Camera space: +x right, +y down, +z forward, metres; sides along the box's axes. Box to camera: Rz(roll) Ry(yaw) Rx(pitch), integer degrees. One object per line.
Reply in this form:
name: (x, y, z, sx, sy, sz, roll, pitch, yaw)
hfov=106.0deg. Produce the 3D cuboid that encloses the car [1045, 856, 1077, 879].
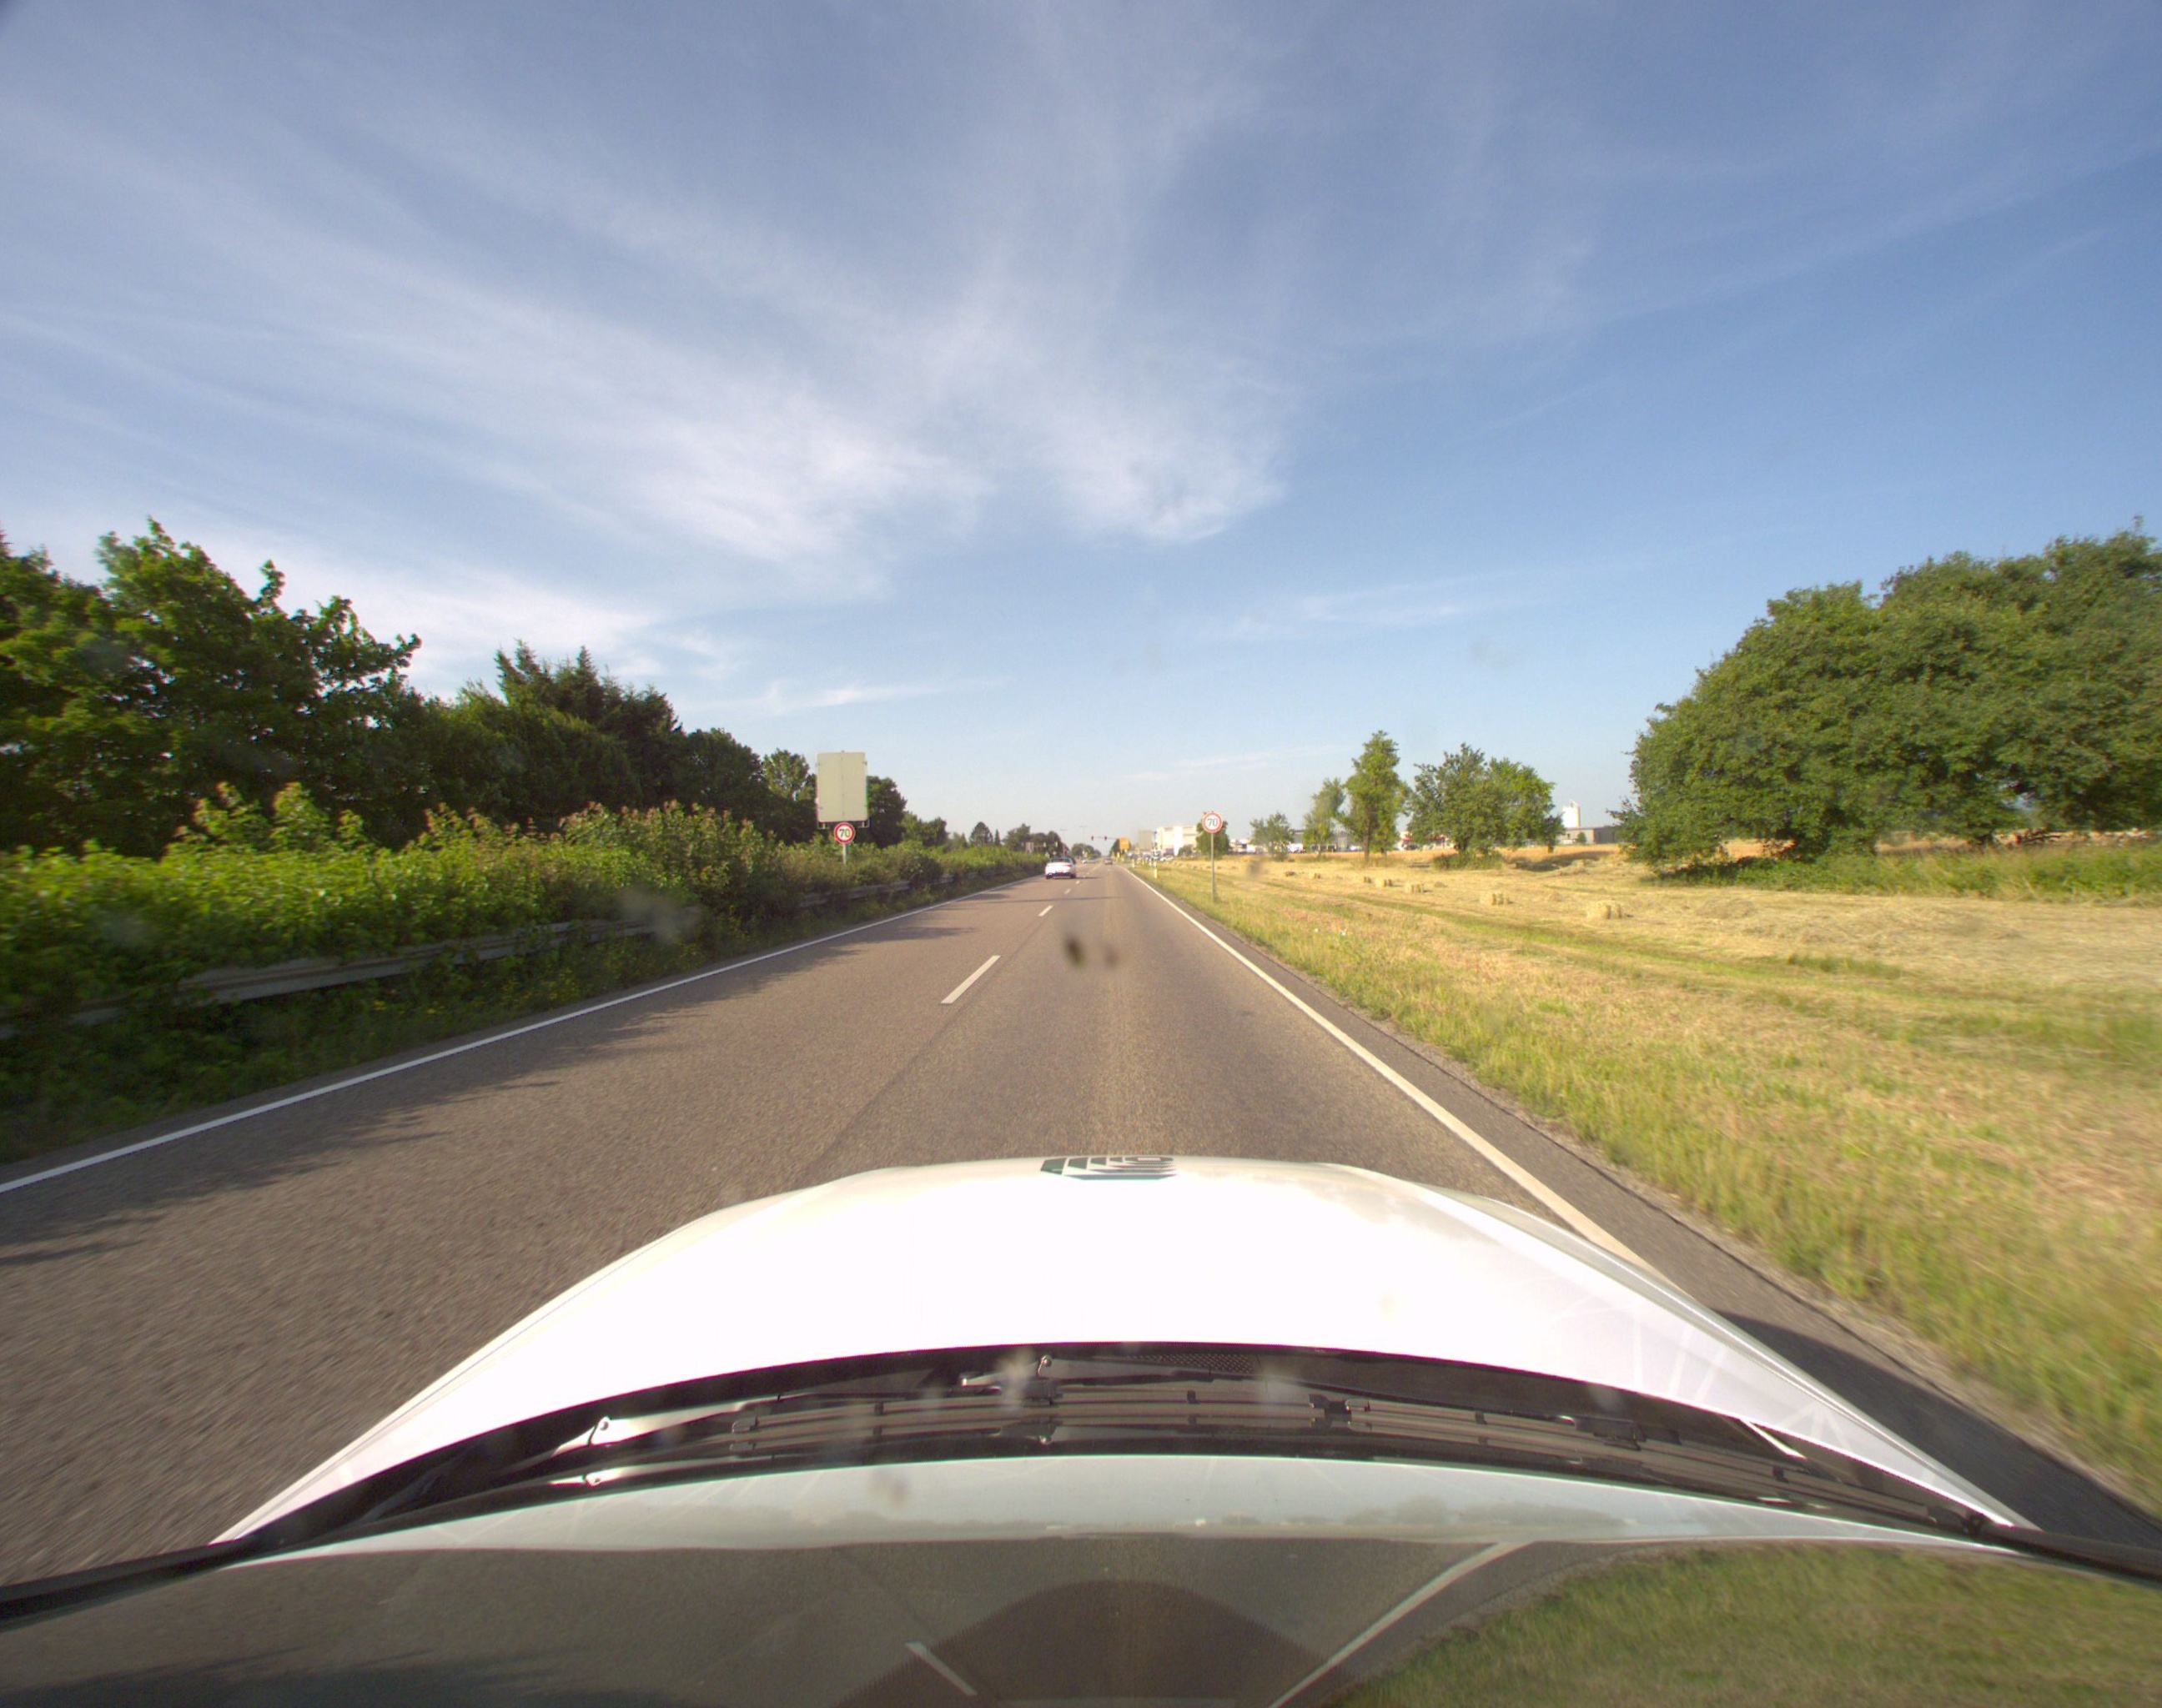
car: (-1.260, 0.860, 53.774, 1.903, 1.422, 4.001, -1, 0, 1)

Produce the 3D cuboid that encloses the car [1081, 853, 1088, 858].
car: (1.007, 0.430, 249.272, 1.940, 1.408, 4.003, -1, 0, 3)

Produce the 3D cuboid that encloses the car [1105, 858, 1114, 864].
car: (6.483, 1.587, 186.143, 1.986, 1.486, 4.001, -1, 0, 1)

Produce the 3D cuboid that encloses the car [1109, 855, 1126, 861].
car: (9.566, 1.053, 212.851, 3.998, 1.408, 1.942, -1, 0, -18)

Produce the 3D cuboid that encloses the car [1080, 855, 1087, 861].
car: (0.664, 1.132, 224.565, 1.940, 1.408, 4.003, -1, 0, 3)
